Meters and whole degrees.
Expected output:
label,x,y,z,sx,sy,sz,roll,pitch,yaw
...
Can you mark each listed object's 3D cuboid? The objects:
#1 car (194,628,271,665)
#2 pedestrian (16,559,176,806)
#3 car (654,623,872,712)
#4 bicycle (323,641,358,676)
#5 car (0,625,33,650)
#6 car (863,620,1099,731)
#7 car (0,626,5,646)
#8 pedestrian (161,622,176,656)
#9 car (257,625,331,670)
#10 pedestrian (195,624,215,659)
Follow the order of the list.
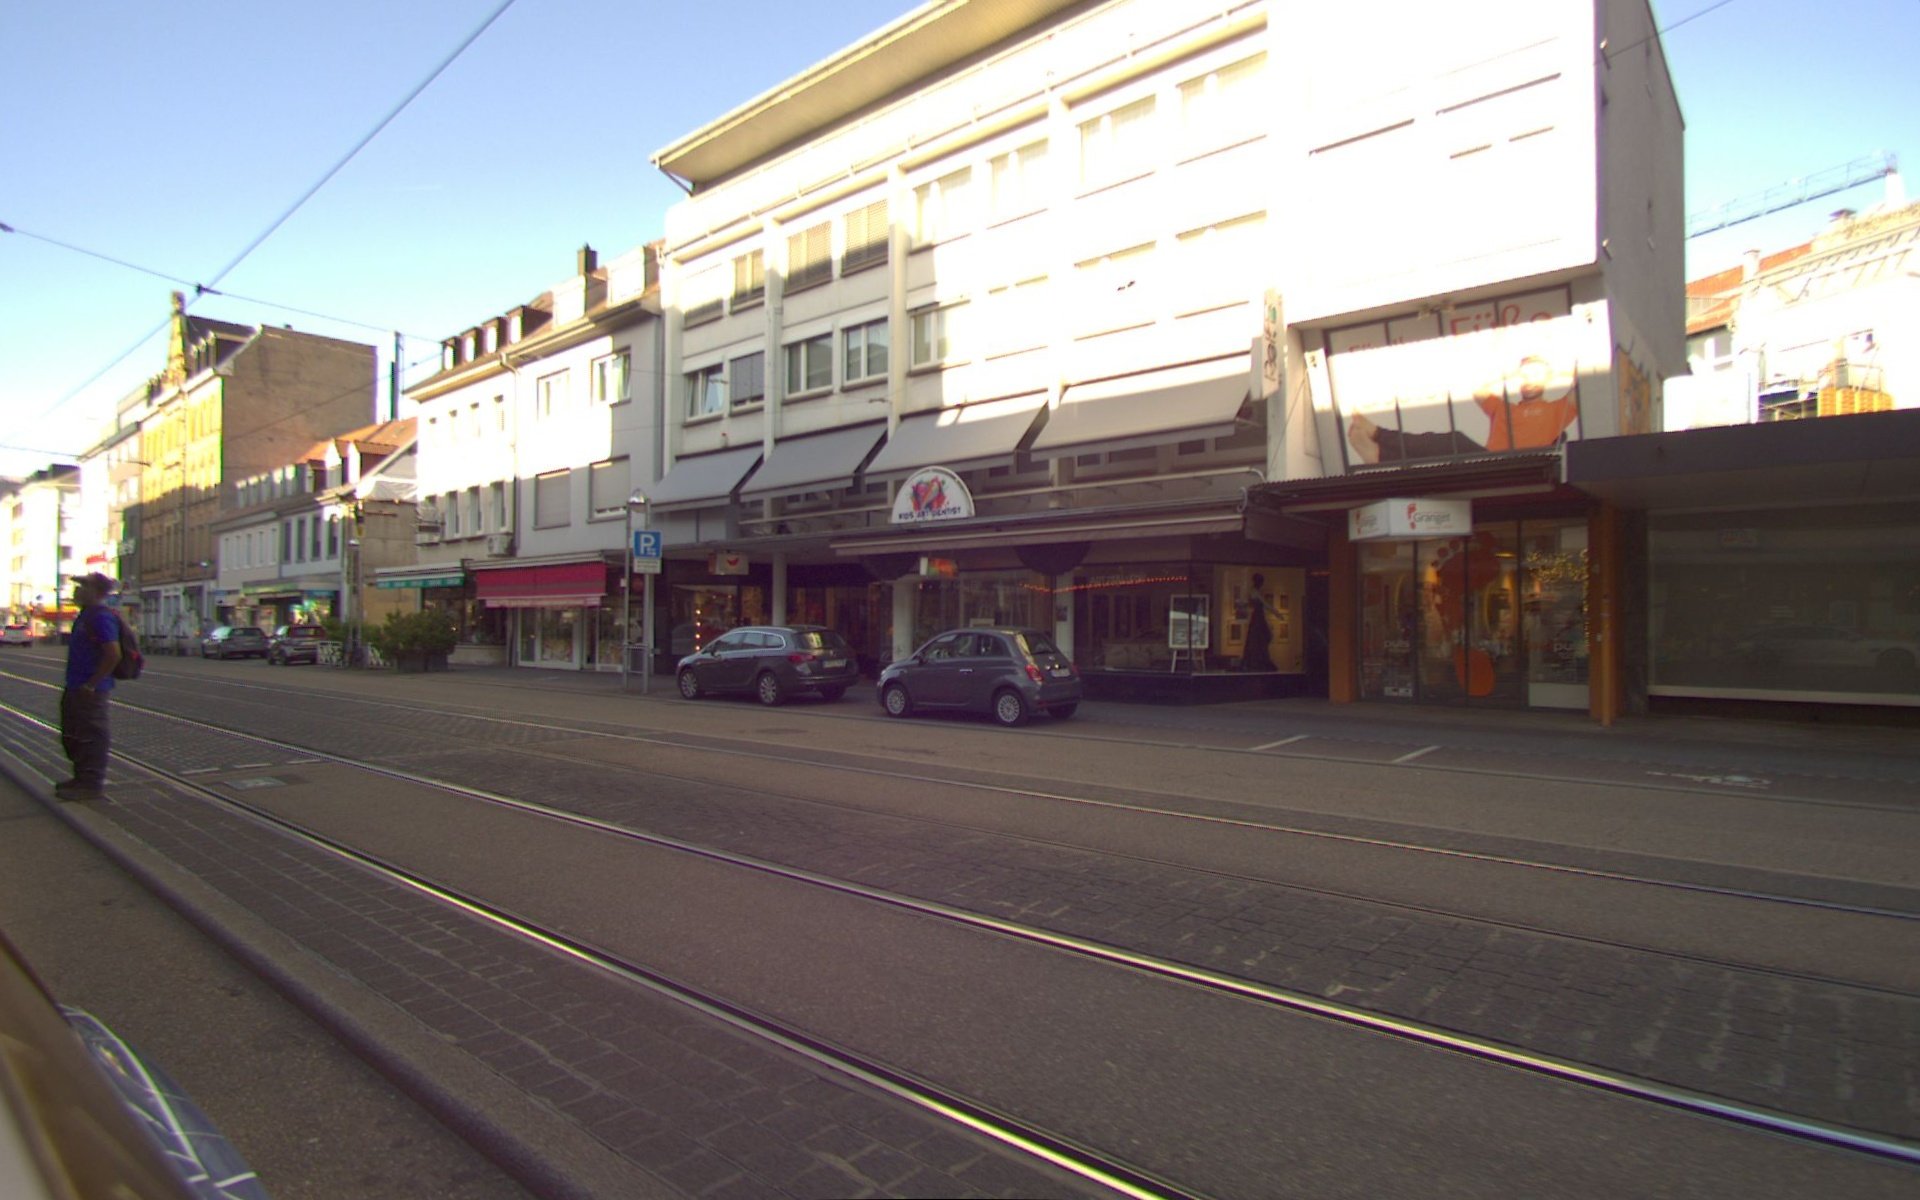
label,x,y,z,sx,sy,sz,roll,pitch,yaw
car,-32.832,2.070,45.624,4.760,1.526,1.798,-1,-1,41
pedestrian,-6.959,0.638,8.160,0.746,1.851,0.796,-1,-3,40
car,-4.083,1.261,20.437,4.850,1.535,1.719,-1,1,42
bicycle,-20.980,1.956,34.243,1.715,1.098,0.513,-1,0,42
car,-65.645,2.583,70.013,3.674,1.647,1.779,-1,-2,41
car,0.285,1.131,16.385,3.585,1.535,1.585,-1,0,39
car,-77.881,2.876,81.005,3.998,1.542,1.645,-1,-3,41
pedestrian,-43.416,2.152,55.511,0.572,1.819,0.660,-1,0,-37
car,-25.801,1.819,39.214,2.890,1.616,1.679,-1,0,41
pedestrian,-39.099,2.151,52.394,0.580,1.775,0.651,-1,0,33
